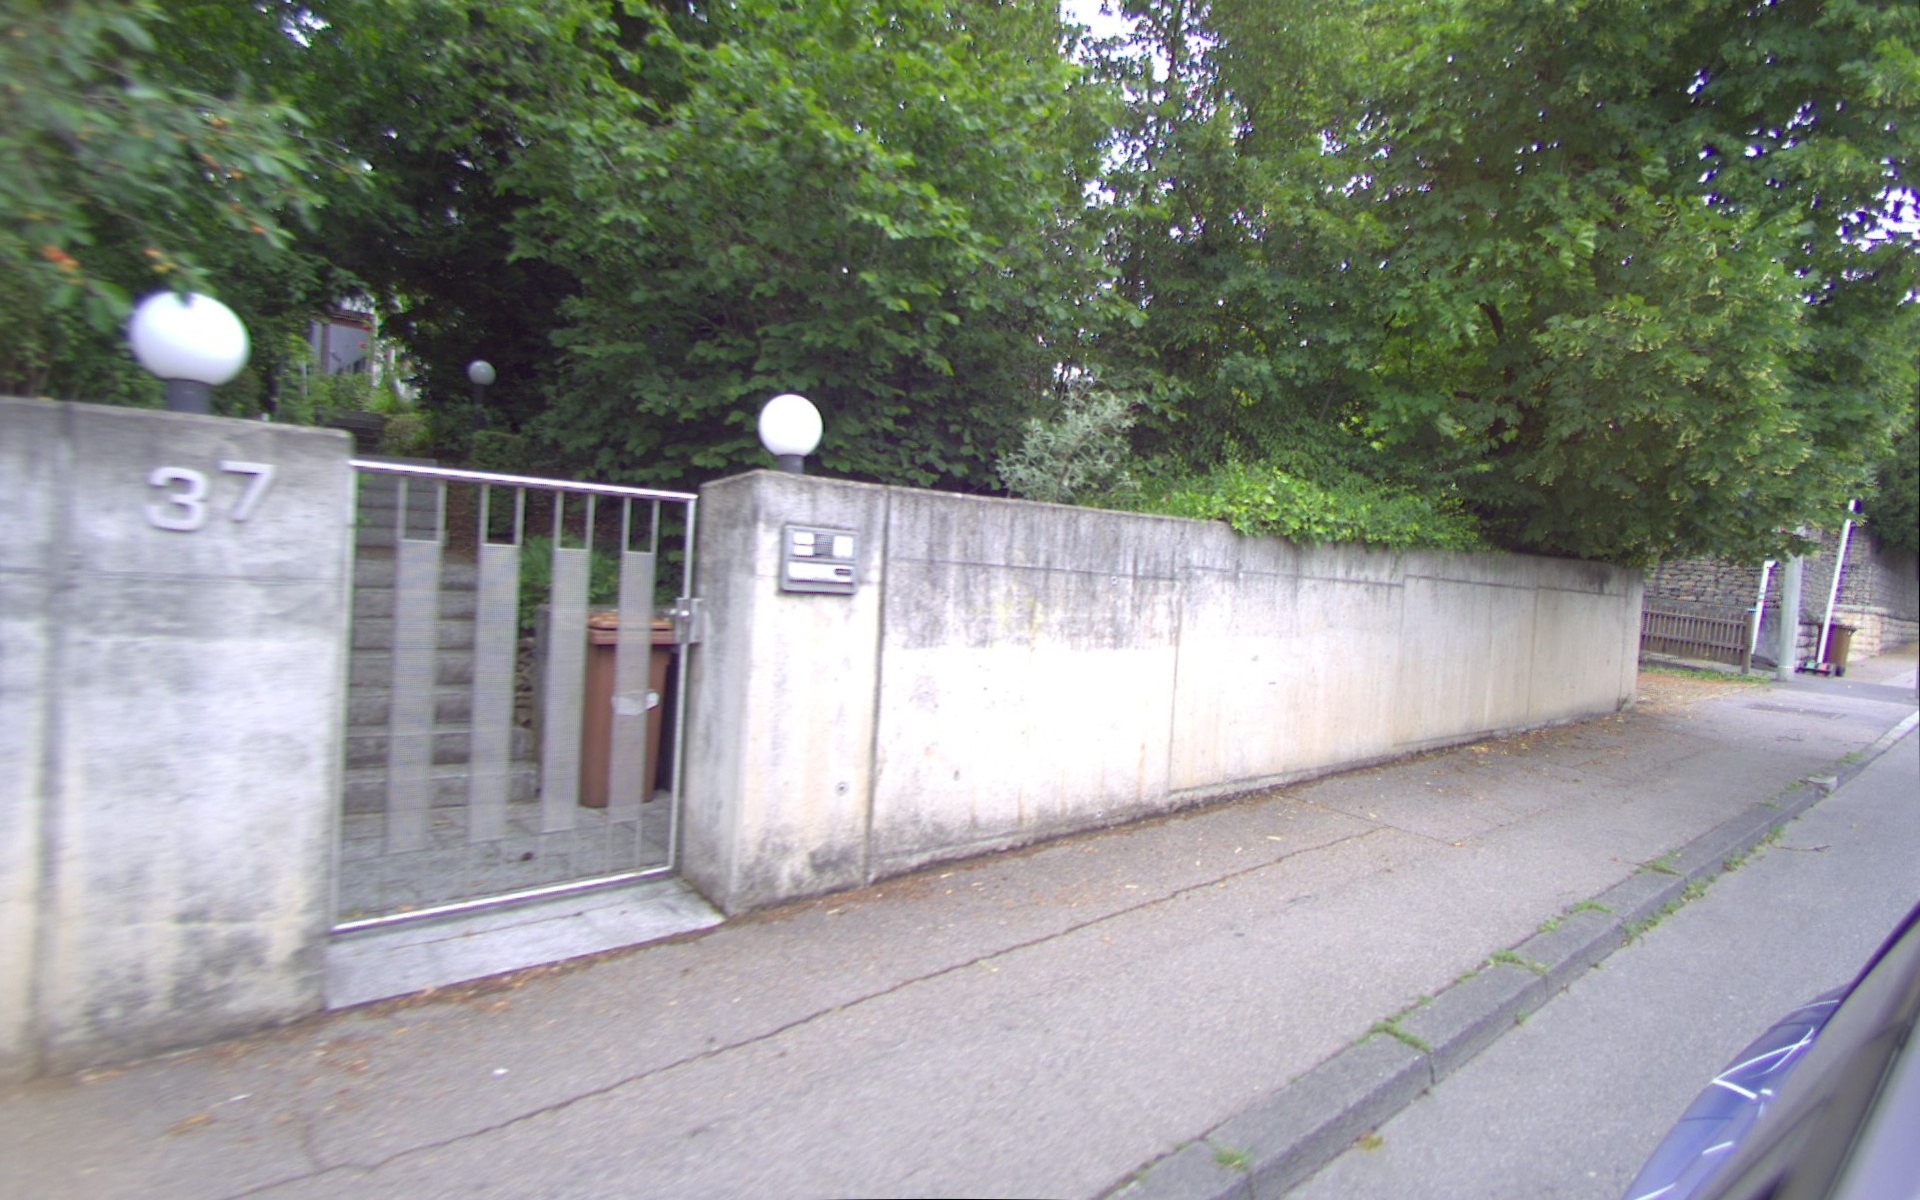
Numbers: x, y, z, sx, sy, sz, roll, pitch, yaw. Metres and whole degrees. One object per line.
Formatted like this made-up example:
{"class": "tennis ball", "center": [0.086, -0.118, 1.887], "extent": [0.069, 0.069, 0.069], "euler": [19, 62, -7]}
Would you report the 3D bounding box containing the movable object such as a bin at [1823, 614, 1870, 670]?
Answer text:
{"class": "movable object such as a bin", "center": [15.317, 0.720, 17.486], "extent": [0.386, 0.920, 0.447], "euler": [3, 3, -31]}
